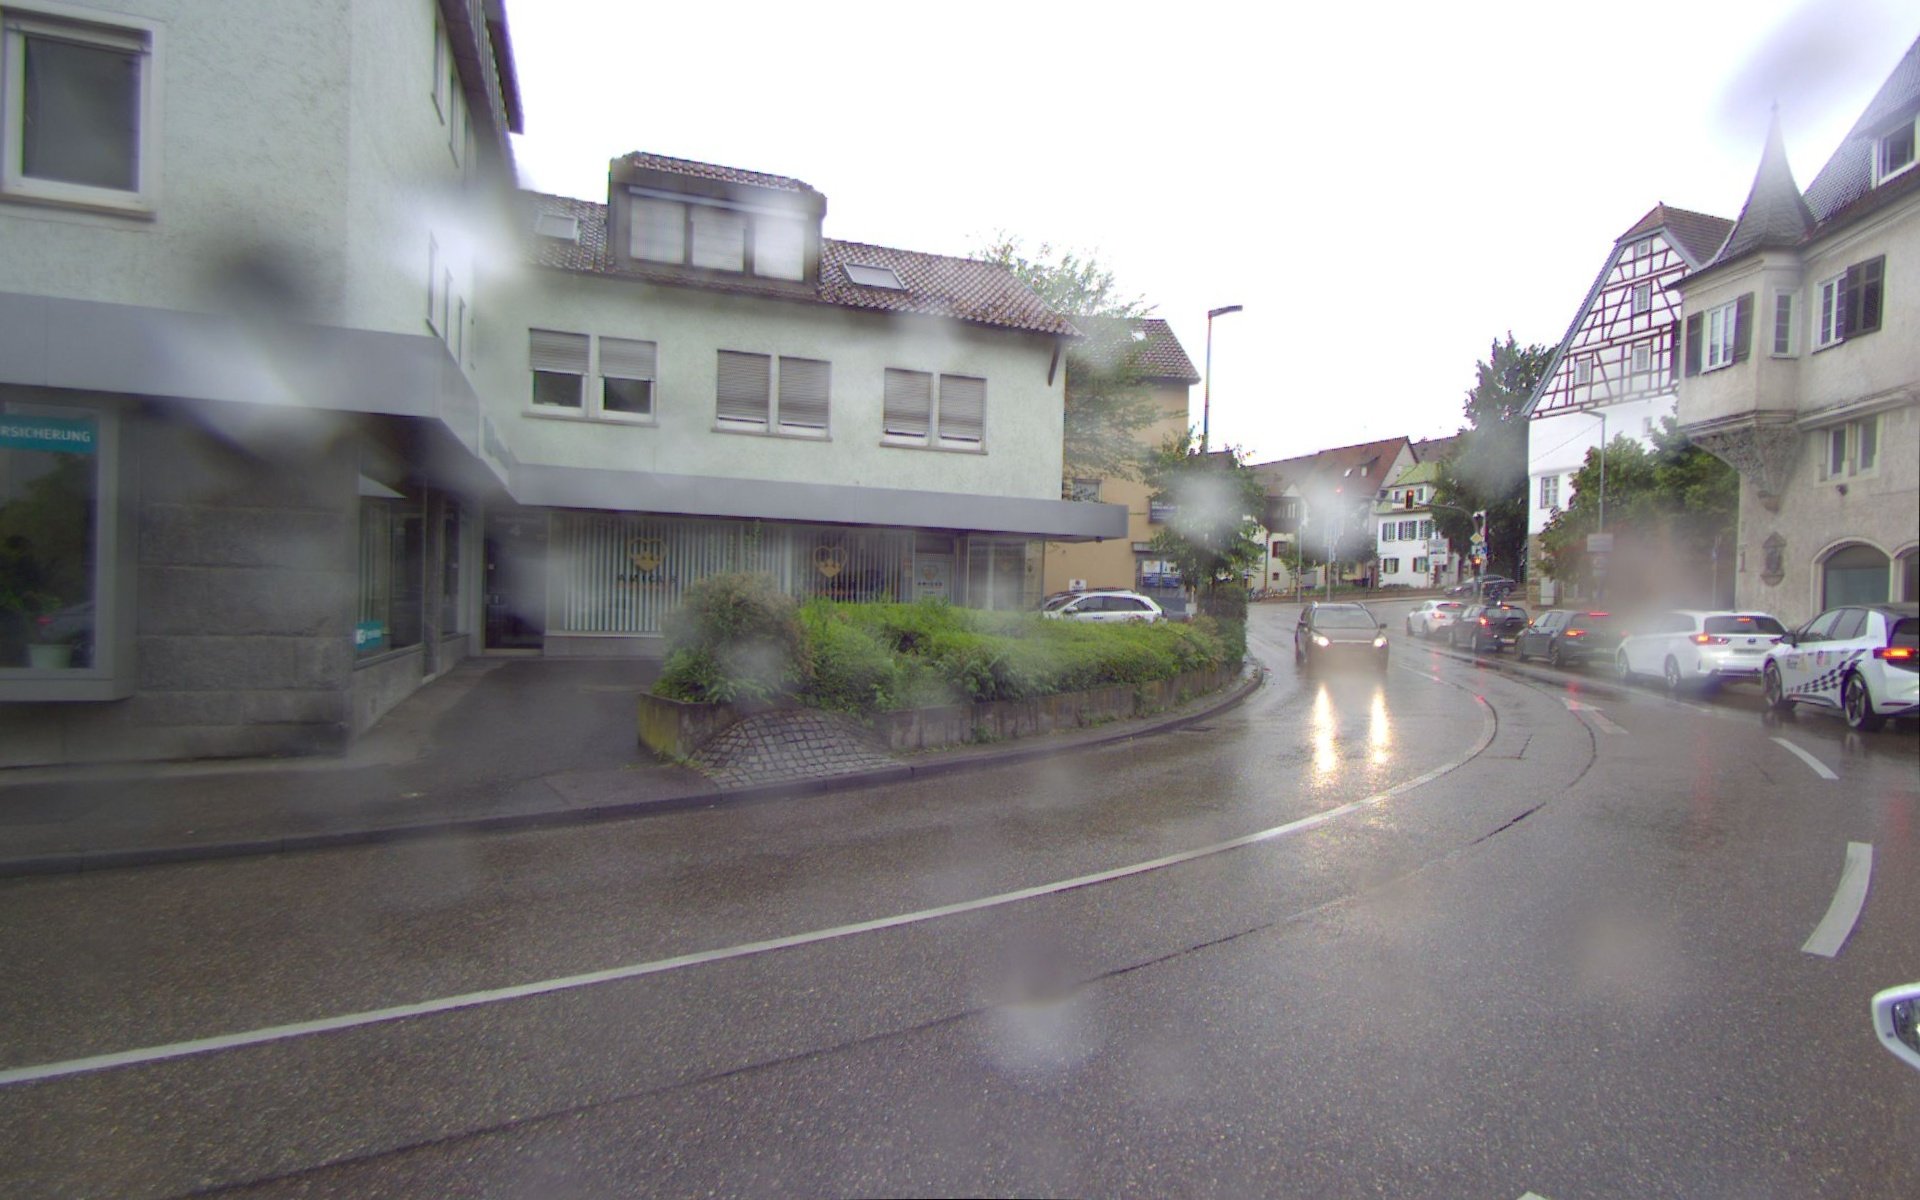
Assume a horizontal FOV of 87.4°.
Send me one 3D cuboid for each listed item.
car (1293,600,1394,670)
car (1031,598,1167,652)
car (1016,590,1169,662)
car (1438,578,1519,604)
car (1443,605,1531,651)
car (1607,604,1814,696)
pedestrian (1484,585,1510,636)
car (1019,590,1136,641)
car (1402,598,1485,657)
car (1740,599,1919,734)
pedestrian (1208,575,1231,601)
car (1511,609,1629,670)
[{"bbox_3d":[9.071,0.813,24.065,1.702,1.530,4.276,0,-1,13],"label":"car"},{"bbox_3d":[3.865,0.681,28.232,3.472,1.475,1.710,0,0,-8],"label":"car"},{"bbox_3d":[3.281,0.628,25.181,3.472,1.708,1.710,0,1,-8],"label":"car"},{"bbox_3d":[33.497,-0.616,64.975,4.446,1.409,1.648,1,7,-8],"label":"car"},{"bbox_3d":[16.949,0.866,32.479,1.634,1.330,3.625,-1,1,13],"label":"car"},{"bbox_3d":[13.953,0.845,18.975,1.755,1.485,4.165,0,1,16],"label":"car"},{"bbox_3d":[25.465,0.505,47.654,0.851,2.357,1.231,1,0,18],"label":"pedestrian"},{"bbox_3d":[3.794,0.497,32.684,3.472,1.597,1.710,0,1,-8],"label":"car"},{"bbox_3d":[18.658,1.007,38.956,1.939,2.118,3.963,-1,1,11],"label":"car"},{"bbox_3d":[12.135,0.779,13.308,1.760,1.537,4.239,-1,-1,22],"label":"car"},{"bbox_3d":[18.317,-0.832,70.873,0.995,1.765,1.139,1,0,-34],"label":"pedestrian"},{"bbox_3d":[15.649,0.971,25.971,1.493,1.380,3.769,0,1,13],"label":"car"}]
